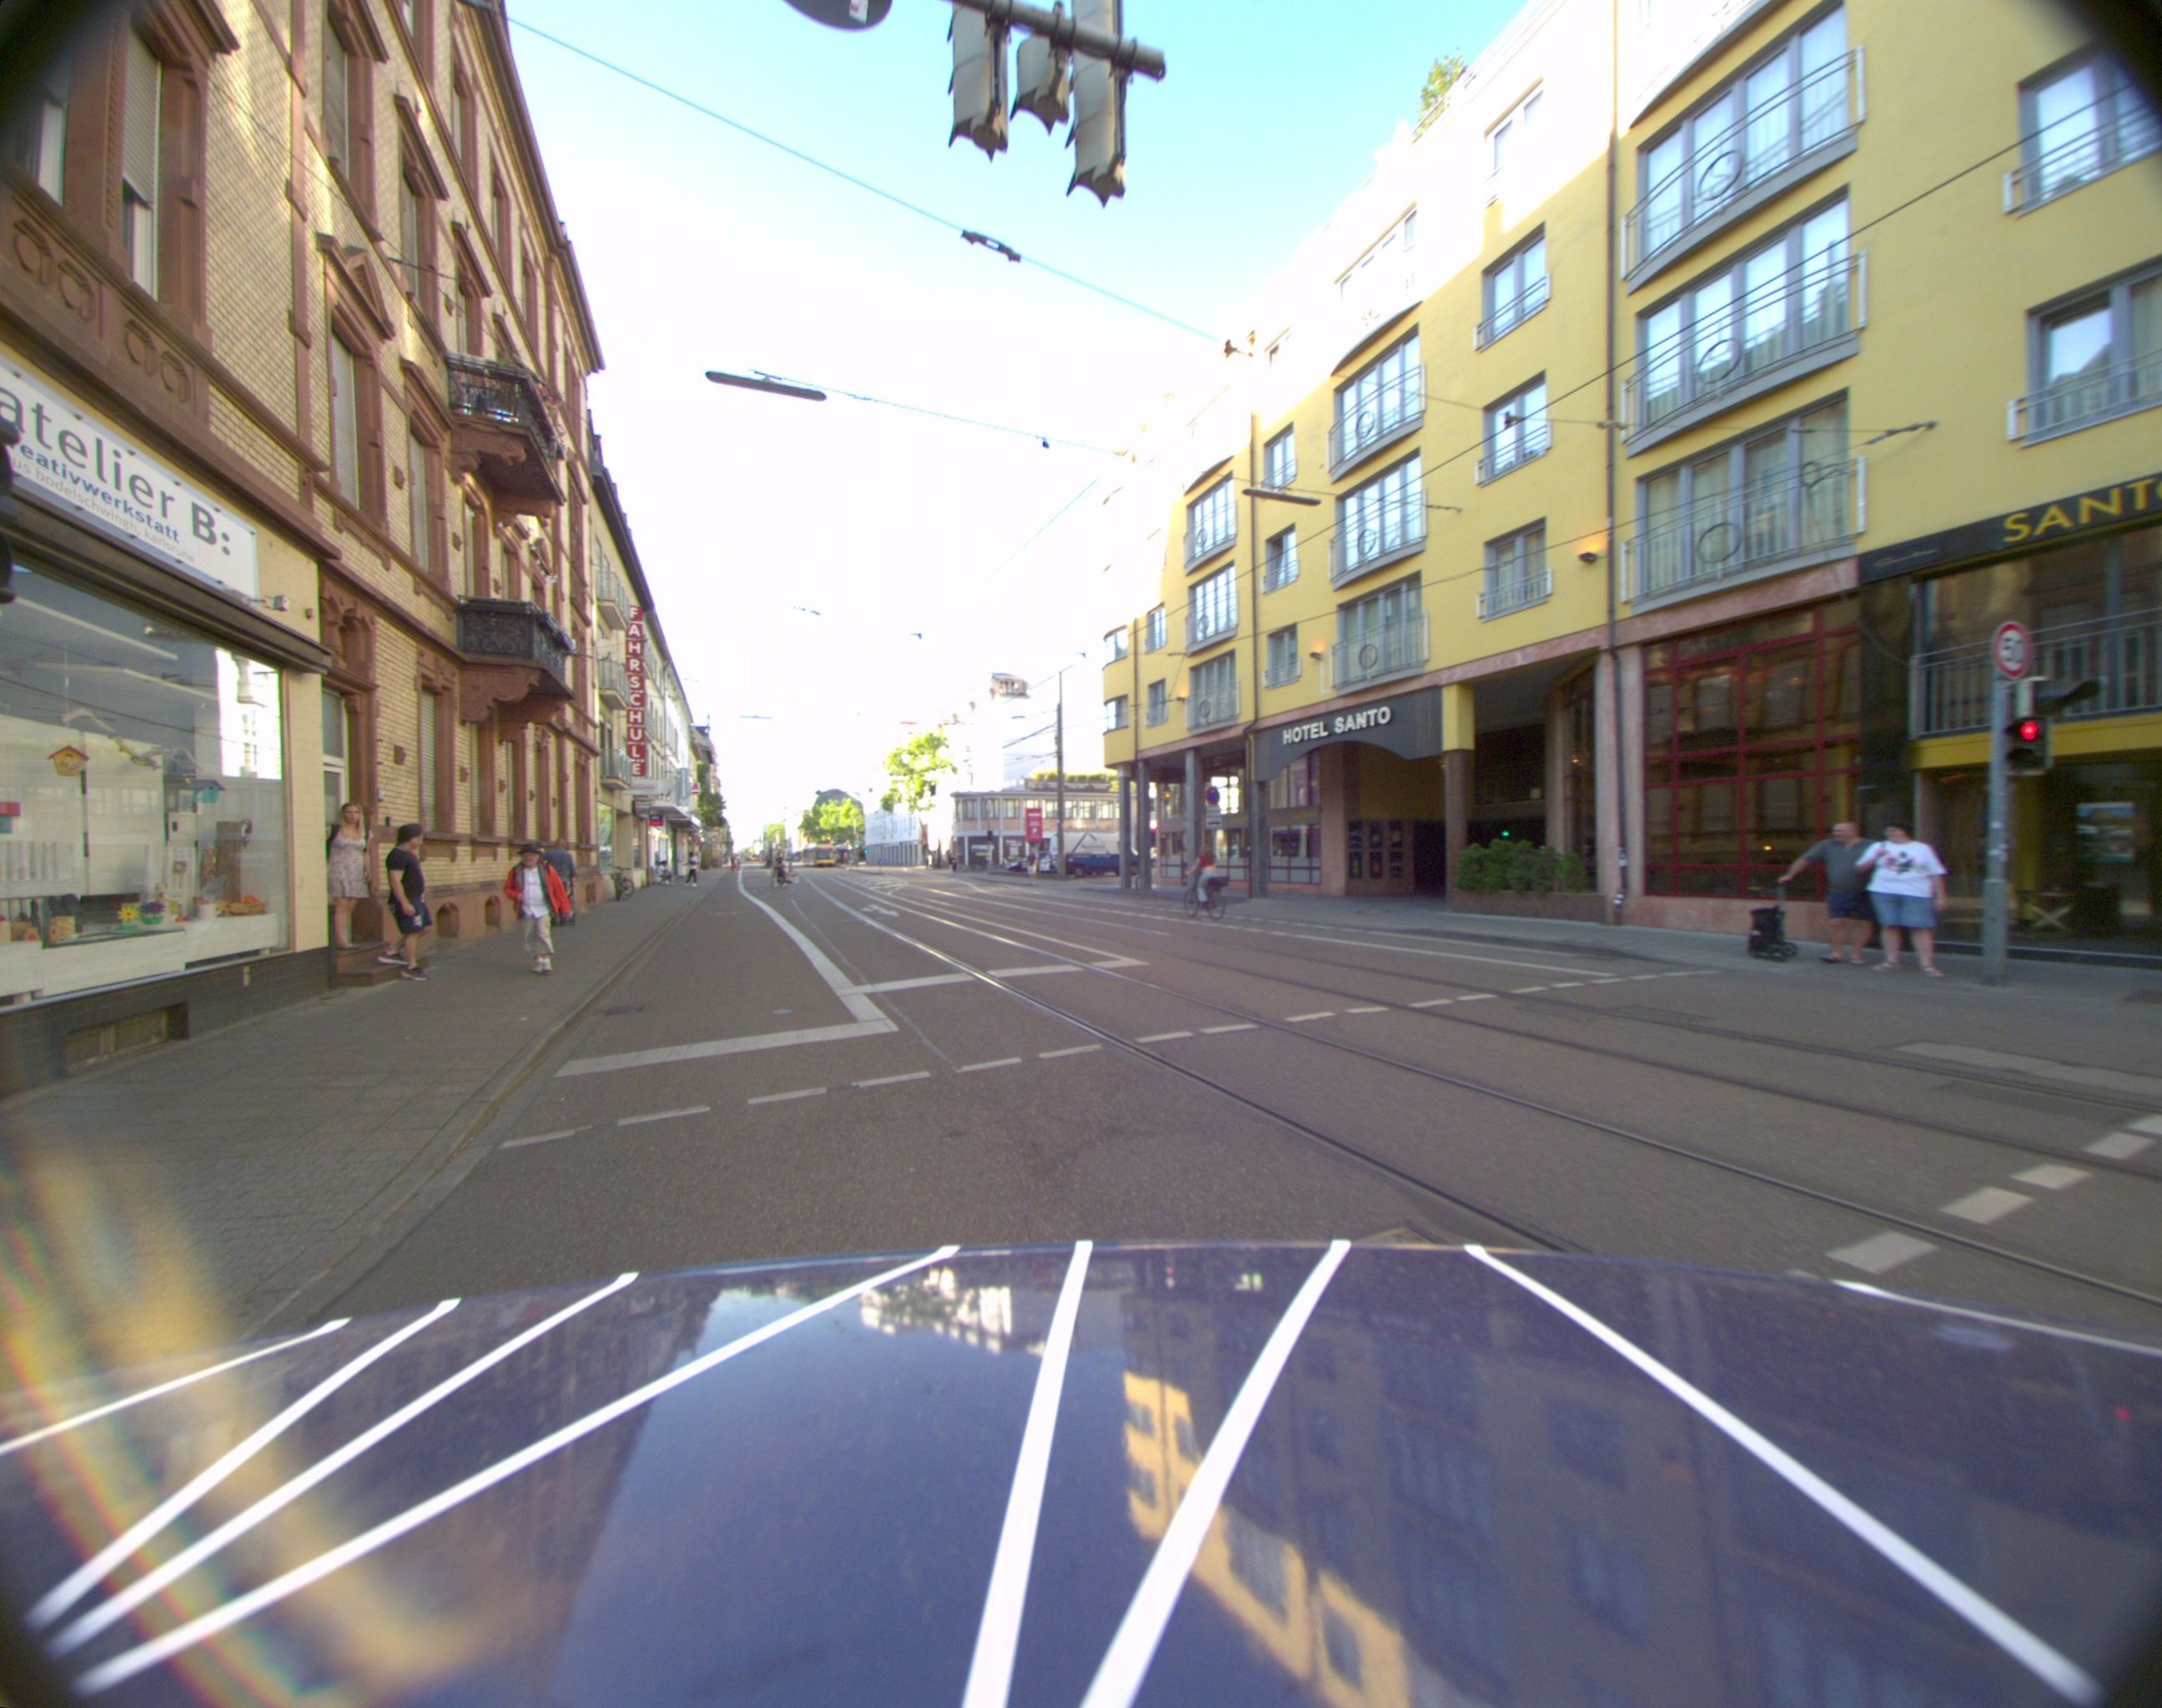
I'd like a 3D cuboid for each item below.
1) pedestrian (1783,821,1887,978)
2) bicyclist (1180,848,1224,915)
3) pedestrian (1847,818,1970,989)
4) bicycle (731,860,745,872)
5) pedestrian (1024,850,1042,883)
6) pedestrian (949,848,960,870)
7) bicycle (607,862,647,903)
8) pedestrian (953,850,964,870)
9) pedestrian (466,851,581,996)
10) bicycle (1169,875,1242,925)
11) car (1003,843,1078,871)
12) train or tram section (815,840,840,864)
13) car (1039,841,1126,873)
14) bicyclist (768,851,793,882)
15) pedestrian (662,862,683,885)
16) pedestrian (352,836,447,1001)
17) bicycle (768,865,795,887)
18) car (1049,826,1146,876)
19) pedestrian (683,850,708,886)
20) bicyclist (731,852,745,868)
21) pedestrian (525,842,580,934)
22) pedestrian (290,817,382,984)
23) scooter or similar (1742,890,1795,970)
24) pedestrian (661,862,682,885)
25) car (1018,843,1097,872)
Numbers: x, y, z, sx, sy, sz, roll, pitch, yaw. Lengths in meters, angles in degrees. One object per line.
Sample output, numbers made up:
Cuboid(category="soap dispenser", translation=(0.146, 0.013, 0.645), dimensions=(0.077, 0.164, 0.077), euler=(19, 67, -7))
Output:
Cuboid(category="pedestrian", translation=(9.432, 0.539, 9.514), dimensions=(0.727, 1.830, 0.677), euler=(-5, 3, -24))
Cuboid(category="bicyclist", translation=(2.802, 0.613, 17.636), dimensions=(0.680, 1.511, 0.754), euler=(-1, 1, -24))
Cuboid(category="pedestrian", translation=(9.512, 0.539, 8.742), dimensions=(0.727, 1.830, 0.734), euler=(-5, 3, -24))
Cuboid(category="bicycle", translation=(-31.549, 1.078, 69.873), dimensions=(1.076, 0.997, 3.055), euler=(-1, 1, -25))
Cuboid(category="pedestrian", translation=(-2.464, 0.649, 39.044), dimensions=(0.726, 1.685, 0.688), euler=(-1, 1, -26))
Cuboid(category="pedestrian", translation=(-10.050, 0.416, 60.491), dimensions=(0.617, 1.719, 0.897), euler=(-1, 1, -27))
Cuboid(category="bicycle", translation=(-15.372, 0.944, 25.781), dimensions=(0.896, 1.263, 2.798), euler=(-1, 1, -26))
Cuboid(category="pedestrian", translation=(-9.983, 0.458, 62.029), dimensions=(0.617, 1.597, 0.897), euler=(-1, 1, -27))
Cuboid(category="pedestrian", translation=(-6.952, 0.809, 9.549), dimensions=(1.009, 1.670, 1.171), euler=(-1, 1, -30))
Cuboid(category="bicycle", translation=(2.846, 1.032, 17.576), dimensions=(0.680, 0.998, 1.959), euler=(-1, 1, -24))
Cuboid(category="car", translation=(-2.866, 0.209, 53.245), dimensions=(4.824, 1.826, 2.055), euler=(-1, 1, -22))
Cuboid(category="train or tram section", translation=(-35.521, -0.255, 106.207), dimensions=(2.283, 3.121, 10.021), euler=(-1, 1, -24))
Cuboid(category="car", translation=(0.070, 0.178, 45.951), dimensions=(4.824, 1.826, 2.055), euler=(-1, 1, -22))
Cuboid(category="bicyclist", translation=(-15.165, 0.599, 38.356), dimensions=(1.076, 1.529, 0.839), euler=(-1, 1, -25))
Cuboid(category="pedestrian", translation=(-21.281, 0.998, 39.567), dimensions=(0.902, 1.169, 0.723), euler=(-1, 1, -27))
Cuboid(category="pedestrian", translation=(-7.698, 0.687, 8.614), dimensions=(0.603, 1.765, 0.750), euler=(-1, 1, -29))
Cuboid(category="bicycle", translation=(-15.147, 1.095, 38.346), dimensions=(1.076, 0.997, 3.055), euler=(-1, 1, -25))
Cuboid(category="car", translation=(0.951, -0.213, 43.598), dimensions=(5.154, 2.742, 2.055), euler=(-1, 1, -22))
Cuboid(category="pedestrian", translation=(-20.197, 0.732, 39.821), dimensions=(0.722, 1.827, 0.902), euler=(0, 1, 41))
Cuboid(category="bicyclist", translation=(-31.553, 0.534, 69.875), dimensions=(1.076, 1.401, 0.837), euler=(-1, 1, -25))
Cuboid(category="pedestrian", translation=(-10.826, 0.672, 15.600), dimensions=(0.725, 1.827, 0.899), euler=(-1, 1, -24))
Cuboid(category="pedestrian", translation=(-8.211, 0.484, 8.397), dimensions=(0.551, 1.765, 0.569), euler=(-1, 1, -29))
Cuboid(category="scooter or similar", translation=(8.964, 0.982, 9.906), dimensions=(0.423, 0.972, 0.356), euler=(-5, 3, -26))
Cuboid(category="pedestrian", translation=(-20.936, 0.993, 38.836), dimensions=(0.902, 1.169, 0.723), euler=(-1, 1, -27))
Cuboid(category="car", translation=(-1.583, 0.189, 50.656), dimensions=(4.824, 1.826, 2.055), euler=(-1, 1, -22))
